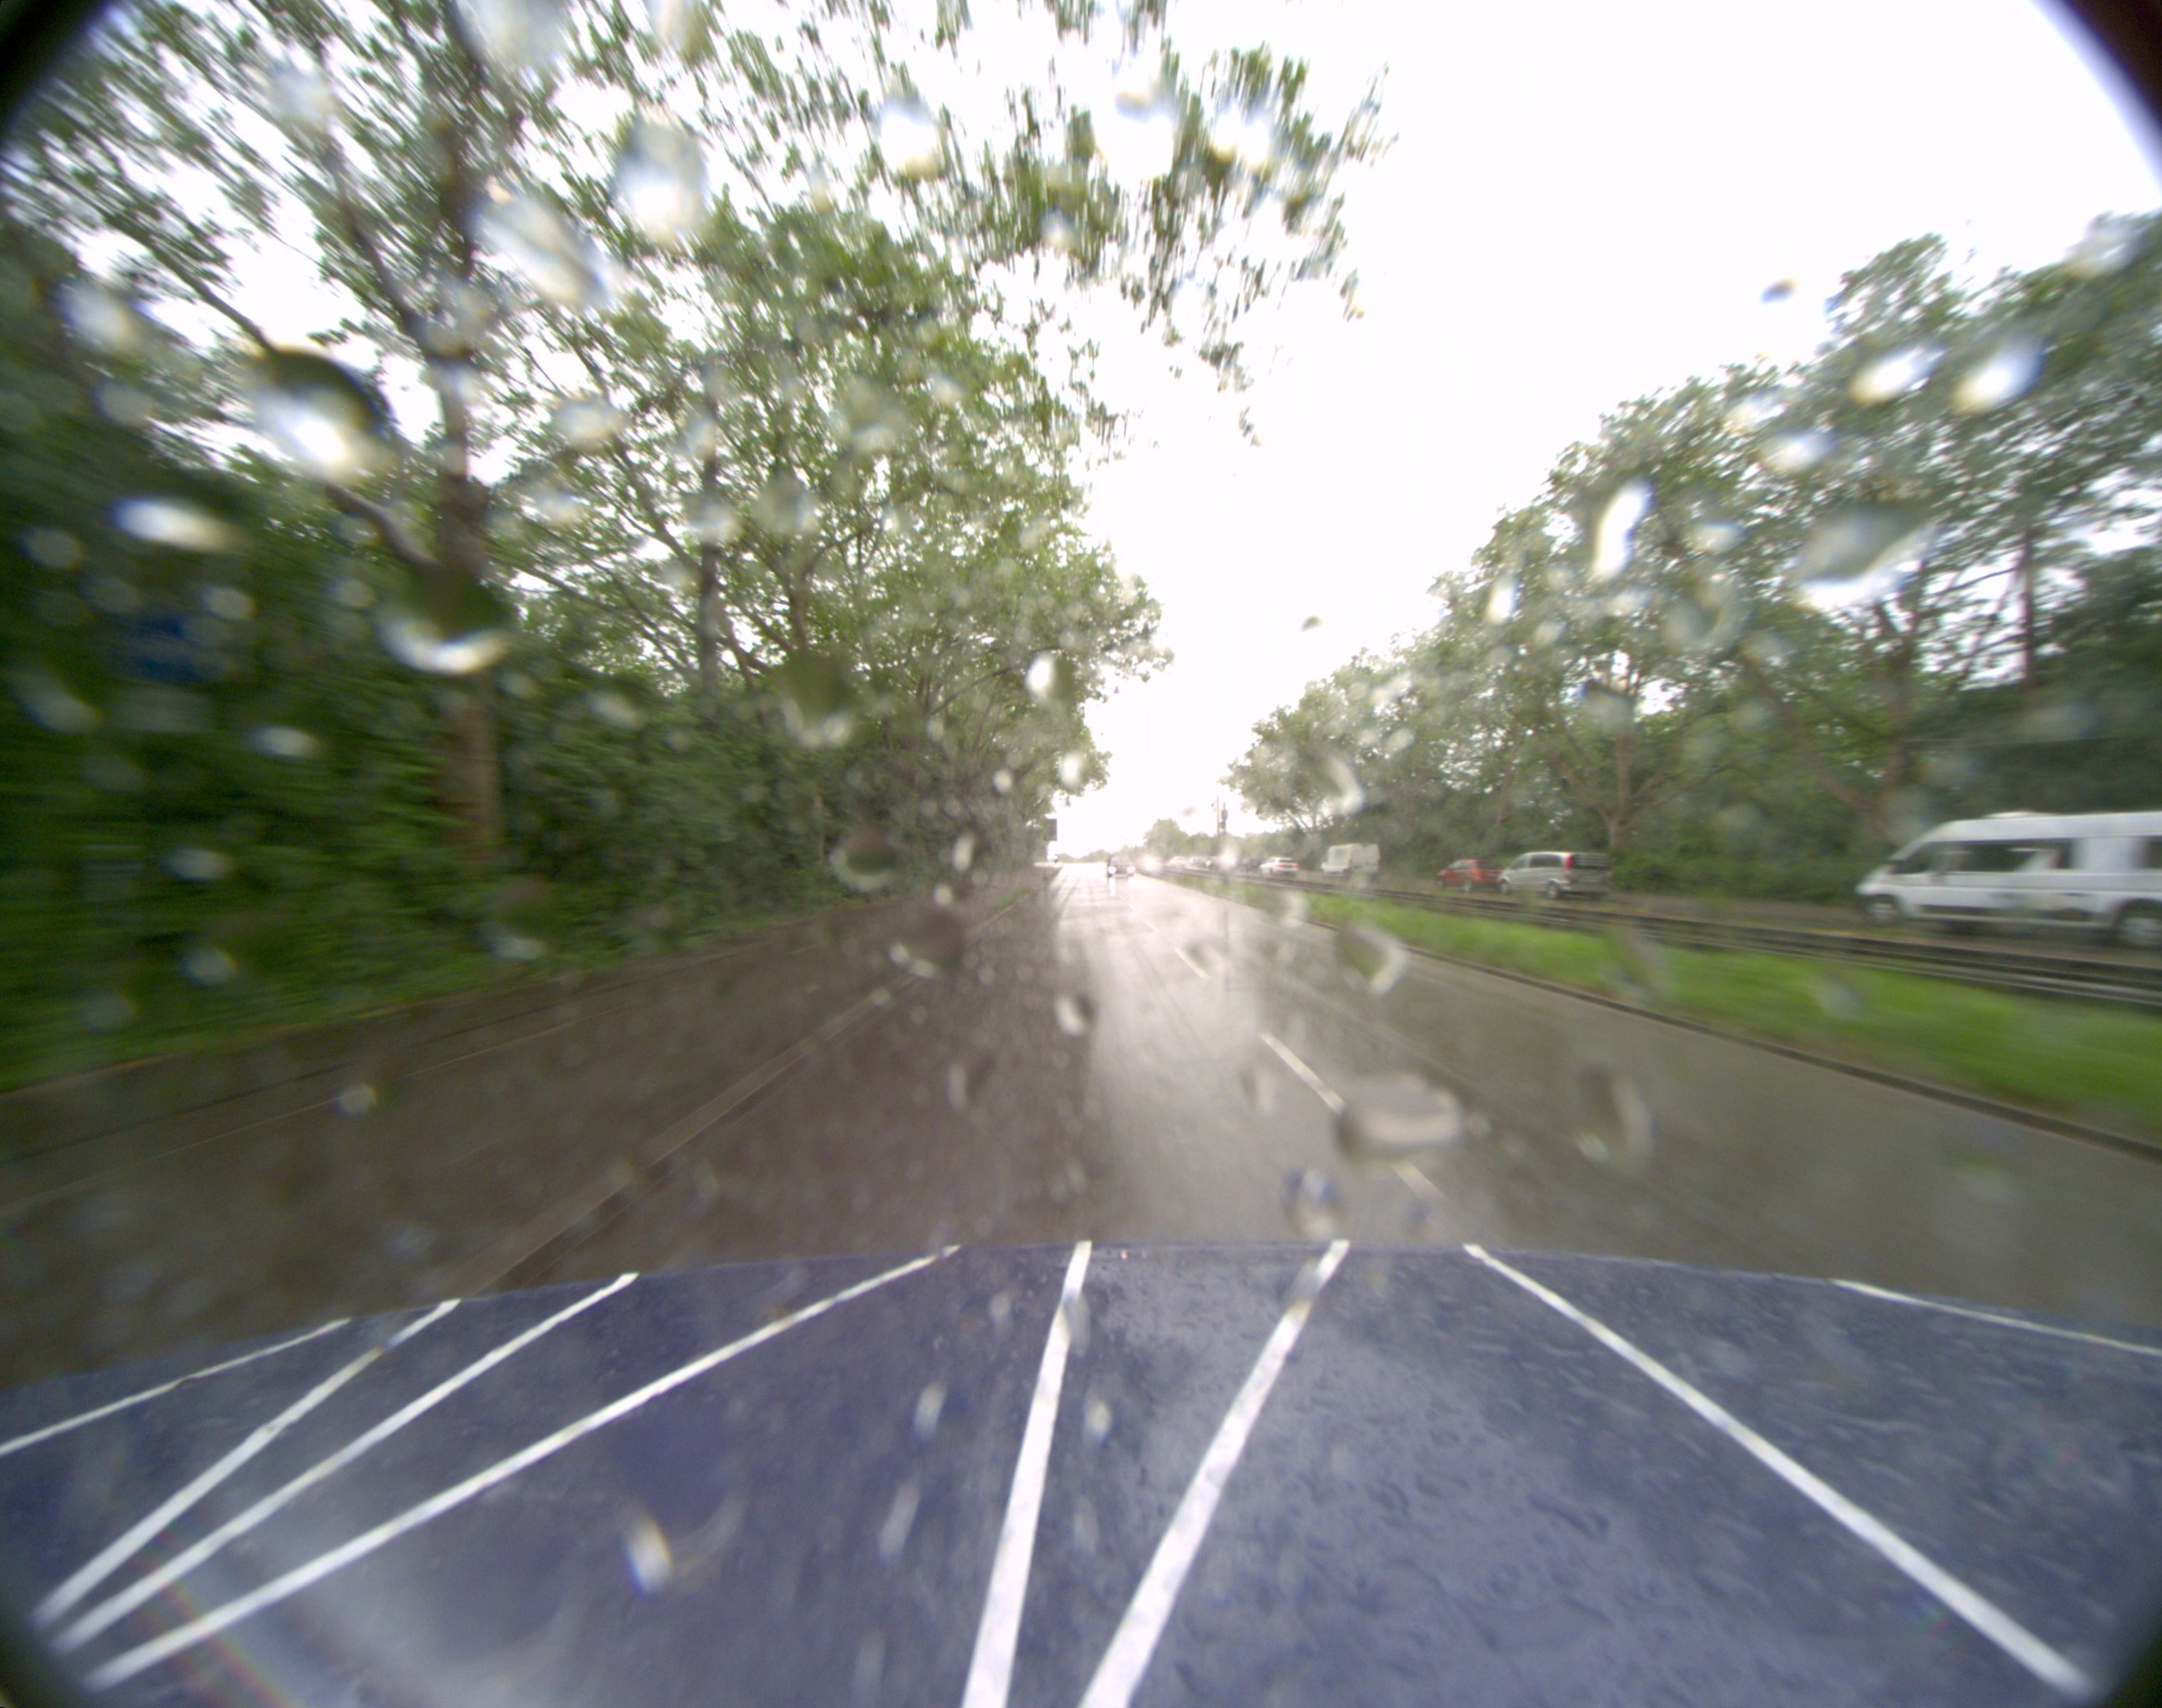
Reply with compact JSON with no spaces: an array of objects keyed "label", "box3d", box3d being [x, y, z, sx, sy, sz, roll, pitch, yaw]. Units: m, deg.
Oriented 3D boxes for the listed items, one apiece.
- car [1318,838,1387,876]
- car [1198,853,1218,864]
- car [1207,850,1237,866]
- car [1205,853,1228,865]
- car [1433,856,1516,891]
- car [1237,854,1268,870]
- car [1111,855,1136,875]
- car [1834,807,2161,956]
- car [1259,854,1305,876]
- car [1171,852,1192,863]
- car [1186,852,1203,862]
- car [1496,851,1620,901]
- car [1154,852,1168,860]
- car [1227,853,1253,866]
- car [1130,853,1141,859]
[{"label":"car","box3d":[18.585,0.181,52.414,2.336,2.432,6.137,1,1,-2]},{"label":"car","box3d":[17.159,0.628,102.848,1.653,1.423,4.130,1,0,-6]},{"label":"car","box3d":[14.081,0.372,76.191,2.038,1.543,4.565,-1,0,-1]},{"label":"car","box3d":[17.241,0.592,97.026,1.891,1.502,4.577,1,0,-2]},{"label":"car","box3d":[18.877,0.907,36.694,1.823,1.543,4.024,1,0,-1]},{"label":"car","box3d":[17.811,0.785,79.157,2.039,1.543,4.383,1,0,-3]},{"label":"car","box3d":[3.279,0.823,58.517,1.726,1.425,3.851,-1,0,0]},{"label":"car","box3d":[19.486,0.477,15.035,2.396,2.526,6.564,1,0,-3]},{"label":"car","box3d":[15.122,0.808,57.516,1.984,1.557,4.767,1,0,-3]},{"label":"car","box3d":[13.943,0.450,105.596,2.039,1.543,4.995,1,0,-3]},{"label":"car","box3d":[16.961,0.479,113.421,1.652,1.423,4.151,-1,0,-4]},{"label":"car","box3d":[19.095,0.817,30.711,1.962,1.851,4.639,1,0,-1]},{"label":"car","box3d":[16.326,0.427,154.621,2.039,1.458,4.917,-1,0,-3]},{"label":"car","box3d":[17.618,0.602,84.400,1.891,1.371,3.964,1,0,-2]},{"label":"car","box3d":[12.528,0.401,175.838,2.039,1.458,4.917,-1,0,-3]}]
